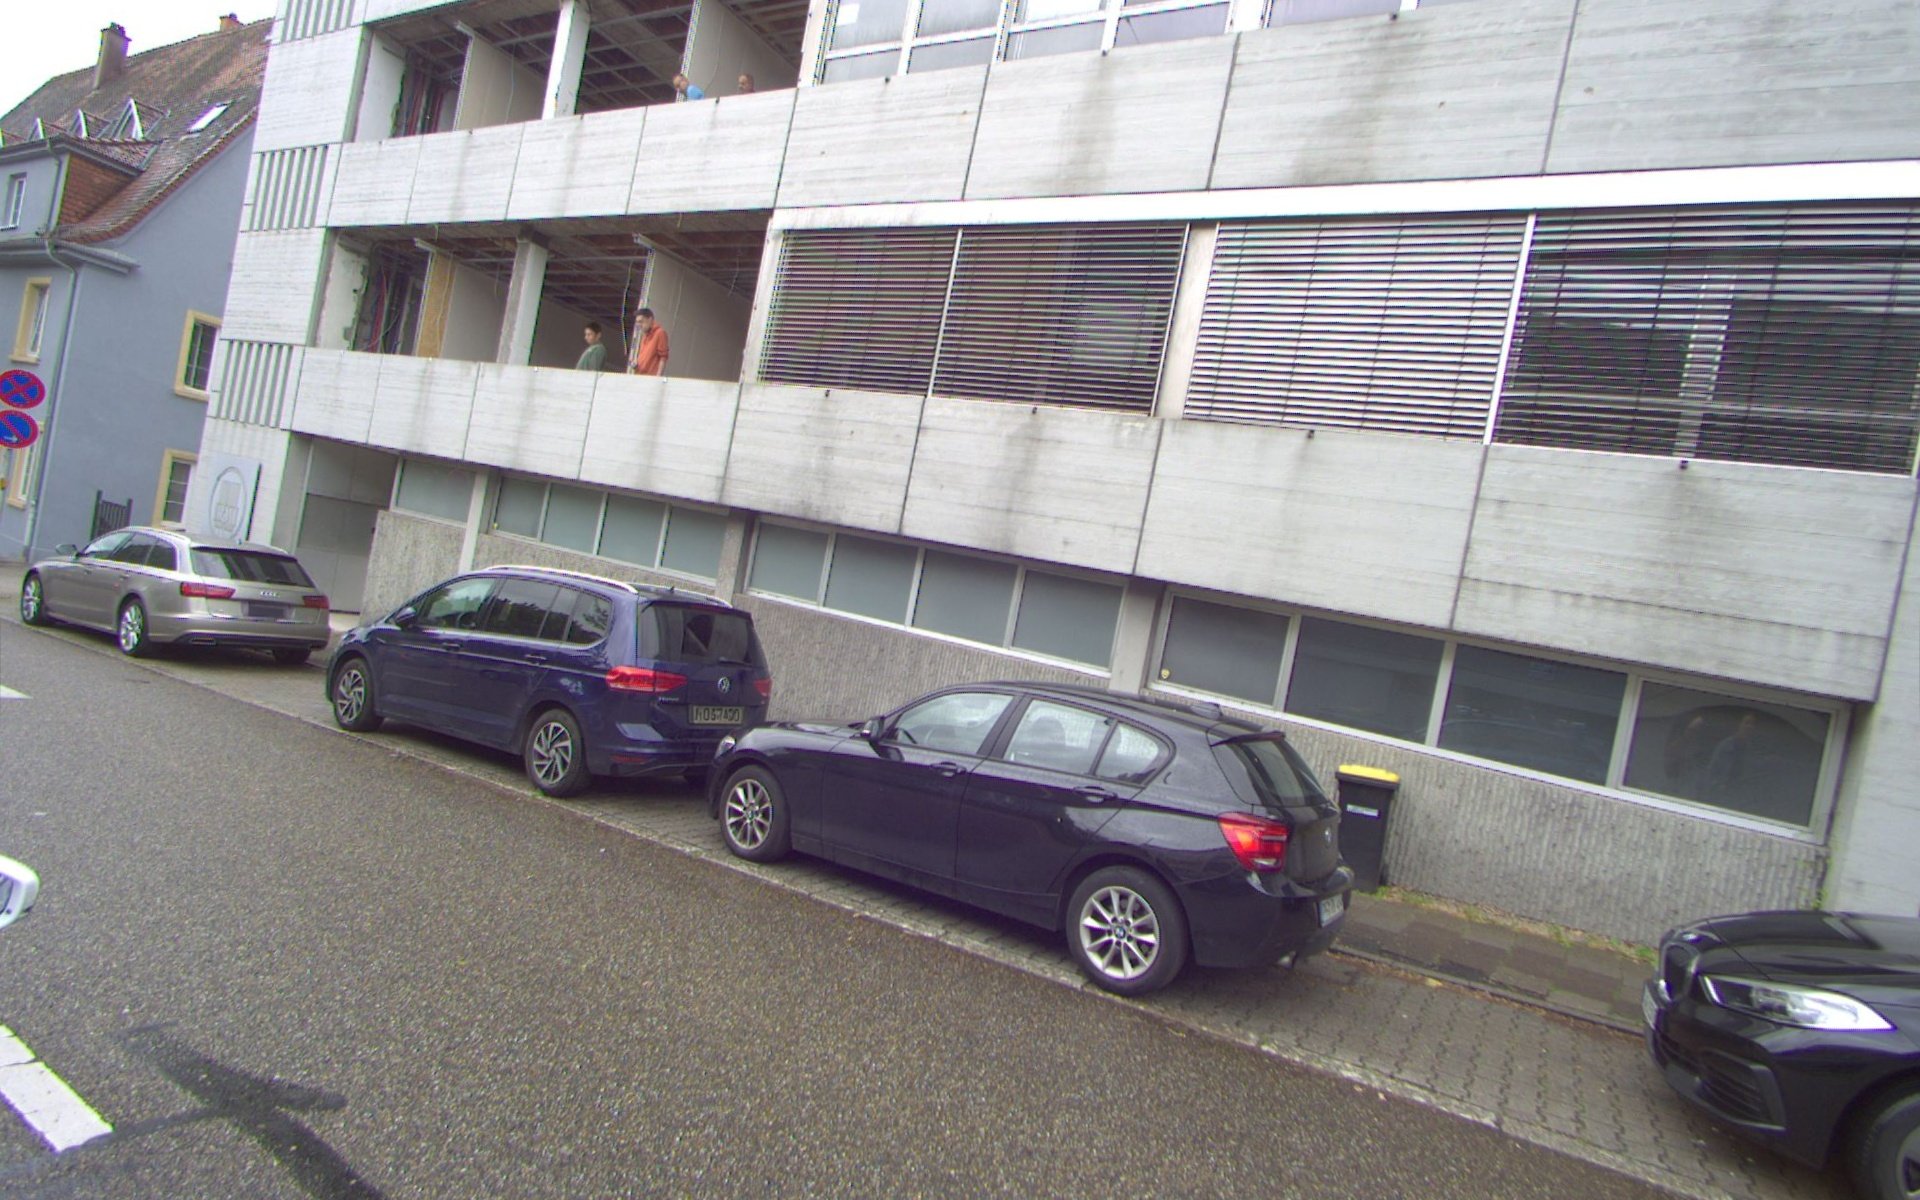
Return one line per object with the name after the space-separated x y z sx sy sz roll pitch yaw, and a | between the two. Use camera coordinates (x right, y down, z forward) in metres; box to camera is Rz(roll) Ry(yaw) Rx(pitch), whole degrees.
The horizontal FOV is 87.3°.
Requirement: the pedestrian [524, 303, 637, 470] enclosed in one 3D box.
-5.252 -2.918 13.947 0.847 2.036 0.909 6 -2 31 | pedestrian

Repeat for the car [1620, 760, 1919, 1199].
5.091 1.766 3.527 4.367 1.453 1.996 7 0 30 | car

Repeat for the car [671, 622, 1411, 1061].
0.339 1.164 6.304 4.183 1.465 1.750 7 -1 34 | car

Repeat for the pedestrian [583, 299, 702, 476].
-4.141 -2.743 13.164 0.847 2.036 0.909 6 -2 31 | pedestrian

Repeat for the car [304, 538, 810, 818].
-3.526 0.549 8.645 4.090 1.618 1.732 7 -1 30 | car

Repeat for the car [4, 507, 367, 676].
-9.800 -0.129 12.669 4.449 1.465 1.967 7 -1 30 | car
